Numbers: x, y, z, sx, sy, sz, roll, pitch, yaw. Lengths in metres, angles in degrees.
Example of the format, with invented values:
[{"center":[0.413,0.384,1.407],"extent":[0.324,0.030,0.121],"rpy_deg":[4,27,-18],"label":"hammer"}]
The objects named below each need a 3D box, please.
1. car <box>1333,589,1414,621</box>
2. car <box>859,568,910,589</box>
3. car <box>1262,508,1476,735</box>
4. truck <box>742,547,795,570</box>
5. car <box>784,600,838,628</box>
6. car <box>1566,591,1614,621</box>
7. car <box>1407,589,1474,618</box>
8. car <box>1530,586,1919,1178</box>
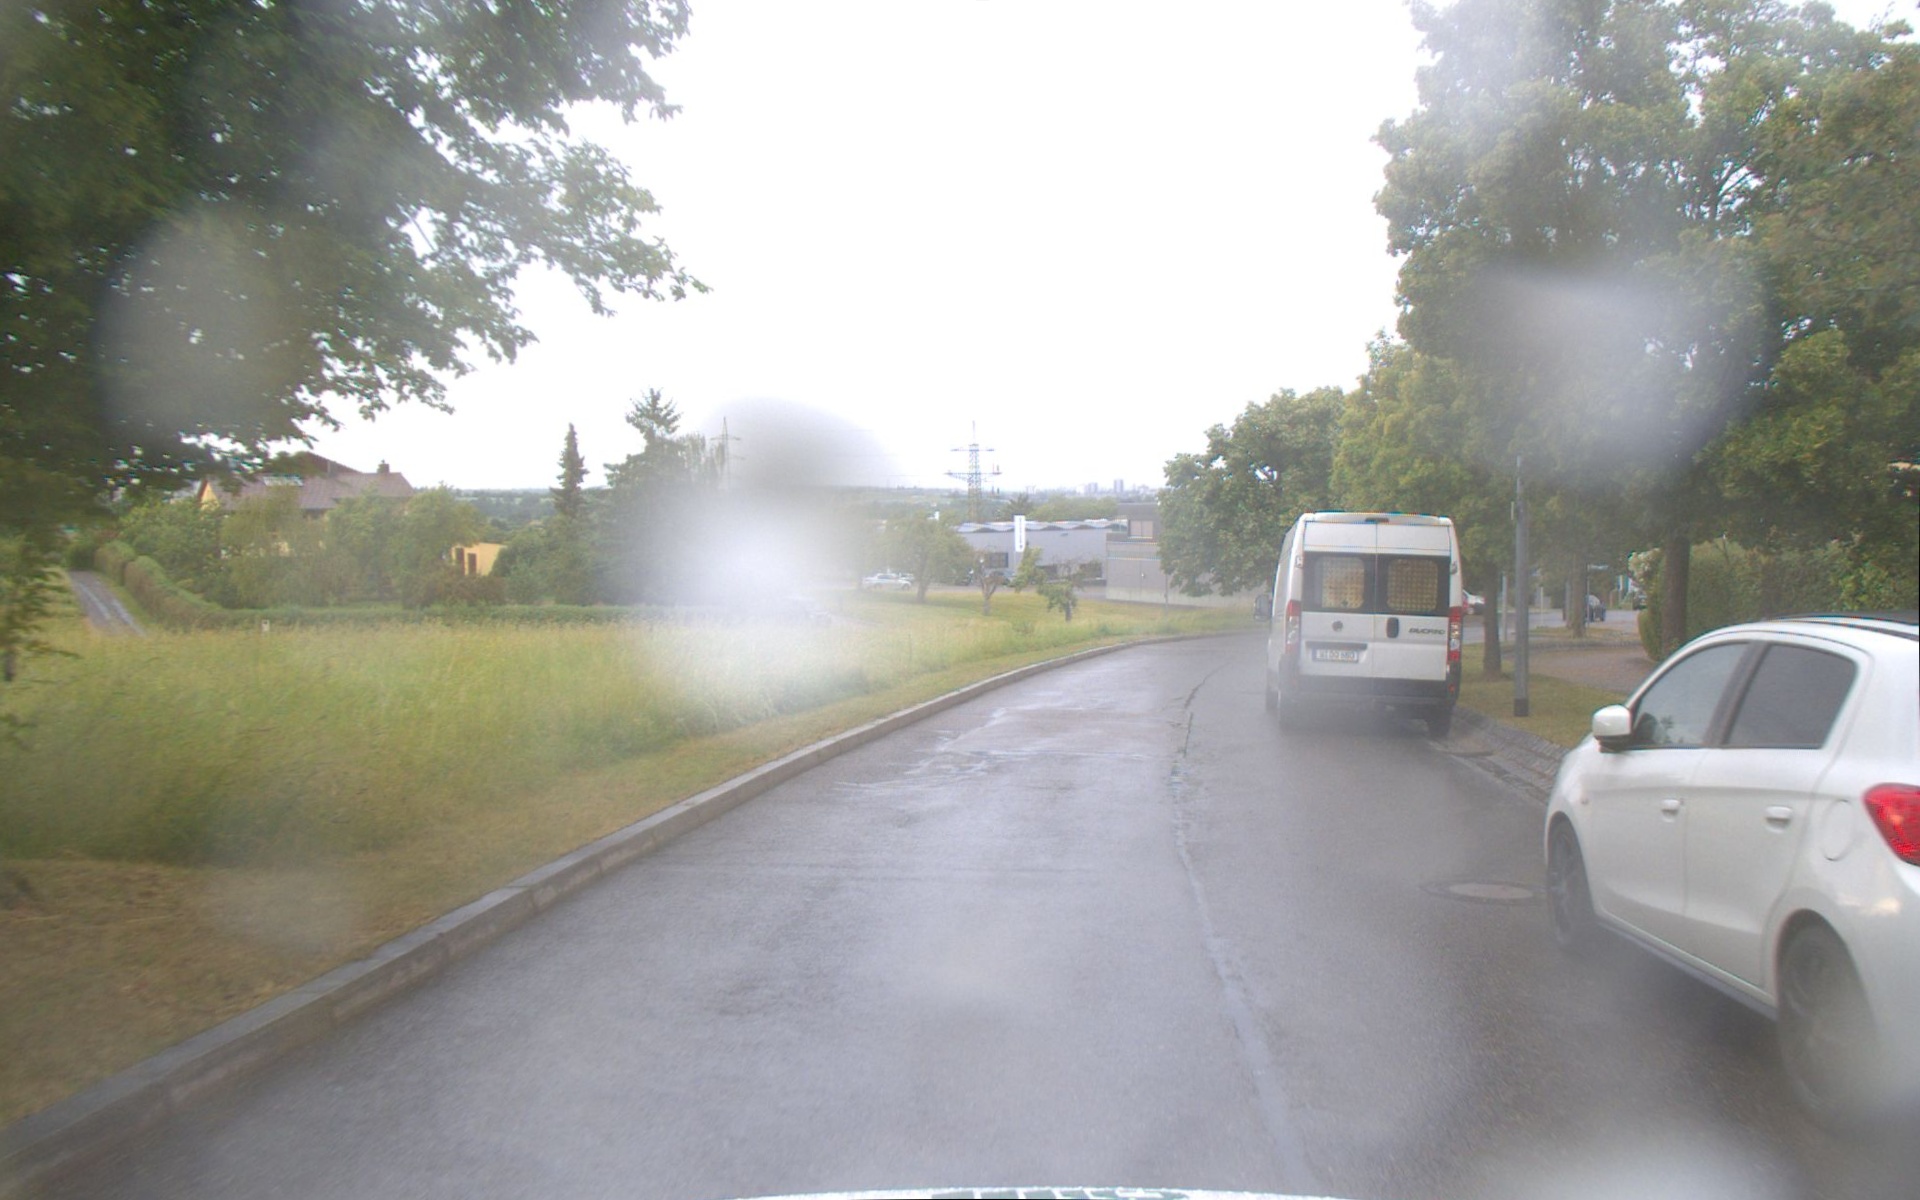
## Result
[{"center":[21.082,0.253,84.305],"extent":[3.792,1.574,1.772],"rpy_deg":[1,0,24],"label":"car"},{"center":[-6.867,-1.940,149.603],"extent":[4.214,1.731,1.781],"rpy_deg":[2,3,-29],"label":"car"},{"center":[5.094,0.219,21.354],"extent":[2.072,2.510,5.514],"rpy_deg":[1,0,8],"label":"car"},{"center":[-21.207,-4.578,182.990],"extent":[5.251,2.349,2.413],"rpy_deg":[1,3,-29],"label":"truck"},{"center":[-9.463,0.849,104.863],"extent":[1.760,1.624,3.953],"rpy_deg":[-1,2,-34],"label":"car"},{"center":[36.543,0.341,95.929],"extent":[1.659,1.579,3.682],"rpy_deg":[2,3,37],"label":"car"},{"center":[27.861,0.228,95.935],"extent":[3.492,1.634,1.691],"rpy_deg":[-1,0,28],"label":"car"},{"center":[3.390,0.743,5.977],"extent":[1.572,1.529,3.728],"rpy_deg":[1,0,4],"label":"car"}]
